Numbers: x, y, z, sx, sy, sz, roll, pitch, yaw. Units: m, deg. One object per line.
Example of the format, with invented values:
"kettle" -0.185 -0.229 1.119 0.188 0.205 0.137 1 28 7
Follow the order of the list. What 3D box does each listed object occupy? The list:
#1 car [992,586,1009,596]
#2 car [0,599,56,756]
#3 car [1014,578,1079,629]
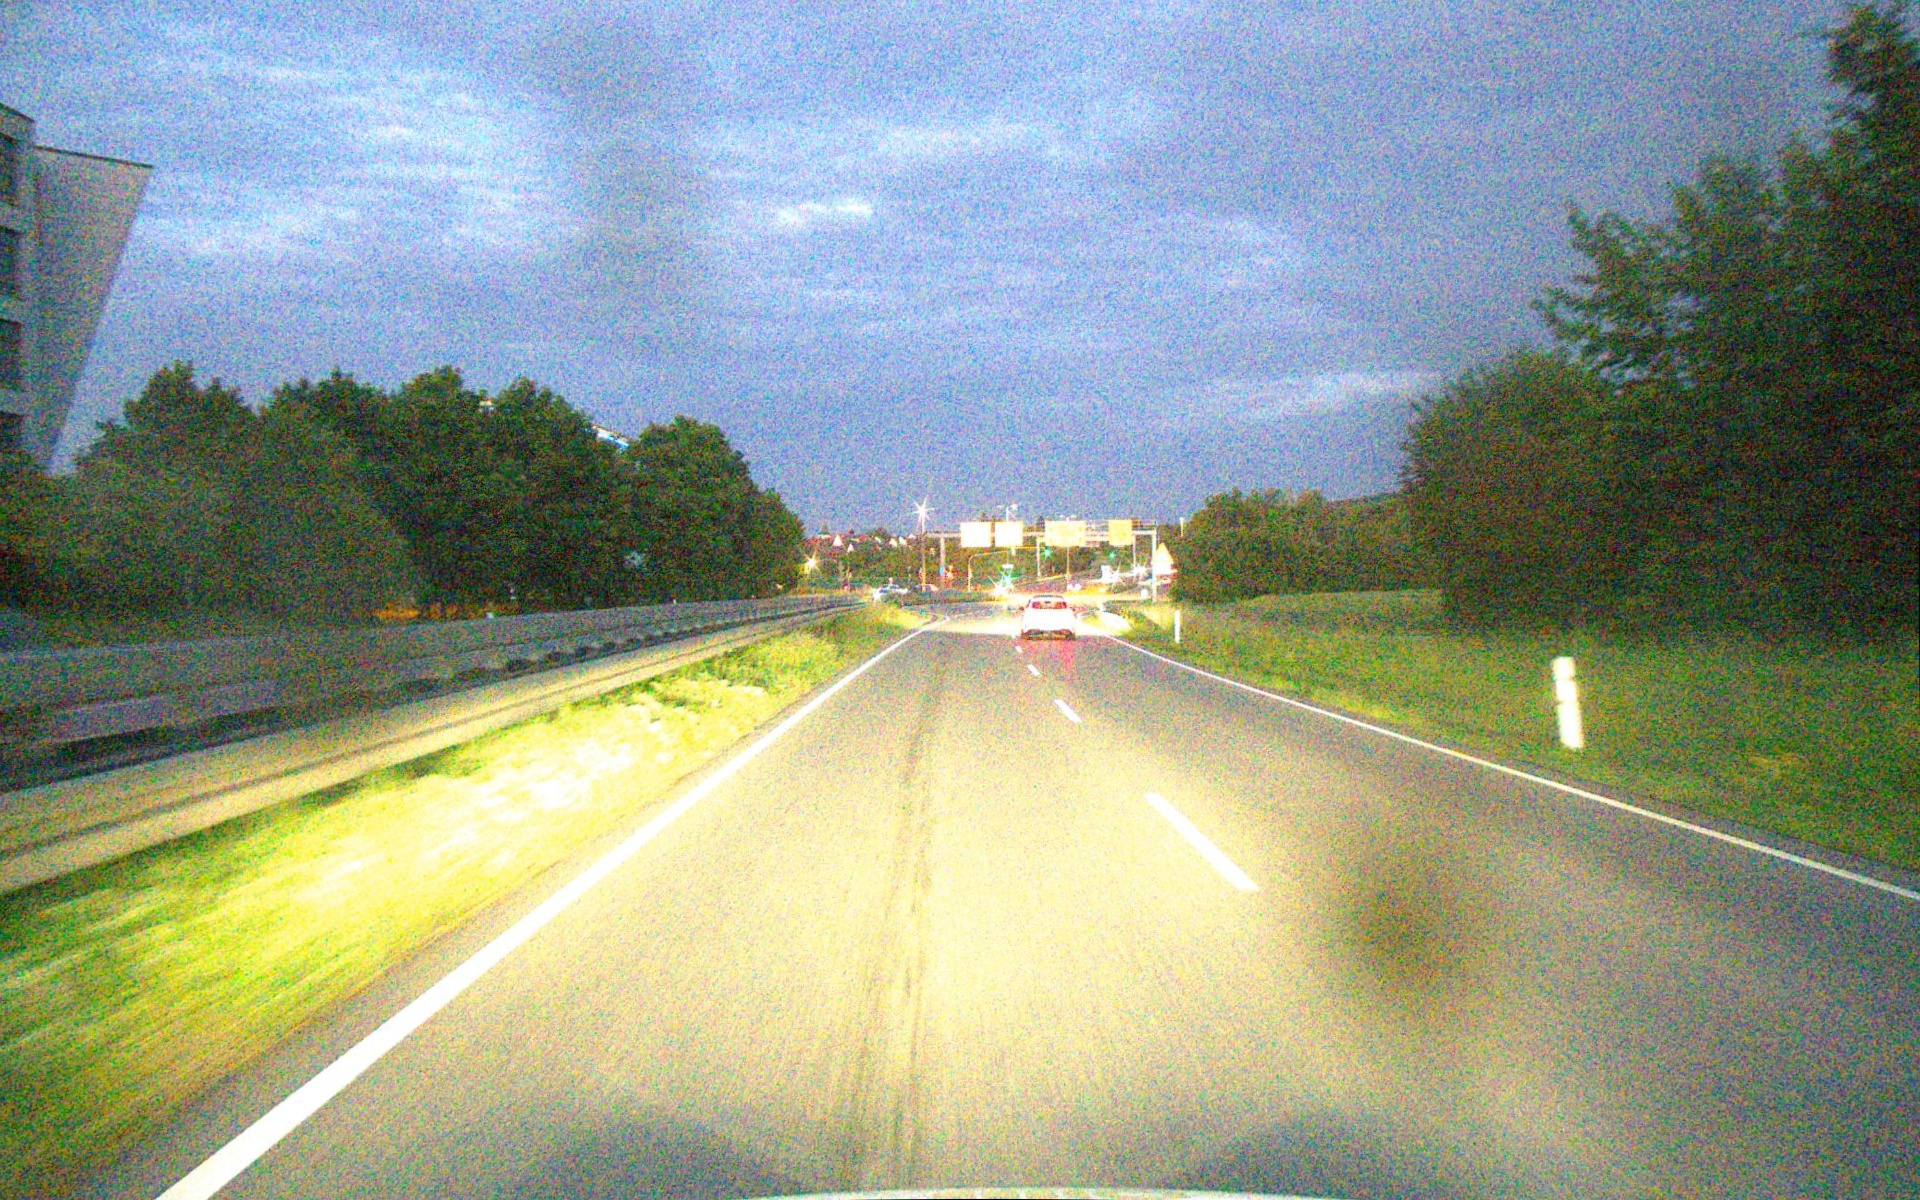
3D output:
"car" 6.032 -1.380 246.337 1.951 1.450 4.536 1 1 10
"car" -10.092 0.797 14.899 1.798 1.495 3.844 -2 1 -1
"car" 2.888 0.113 55.809 1.966 1.639 3.845 1 0 0
